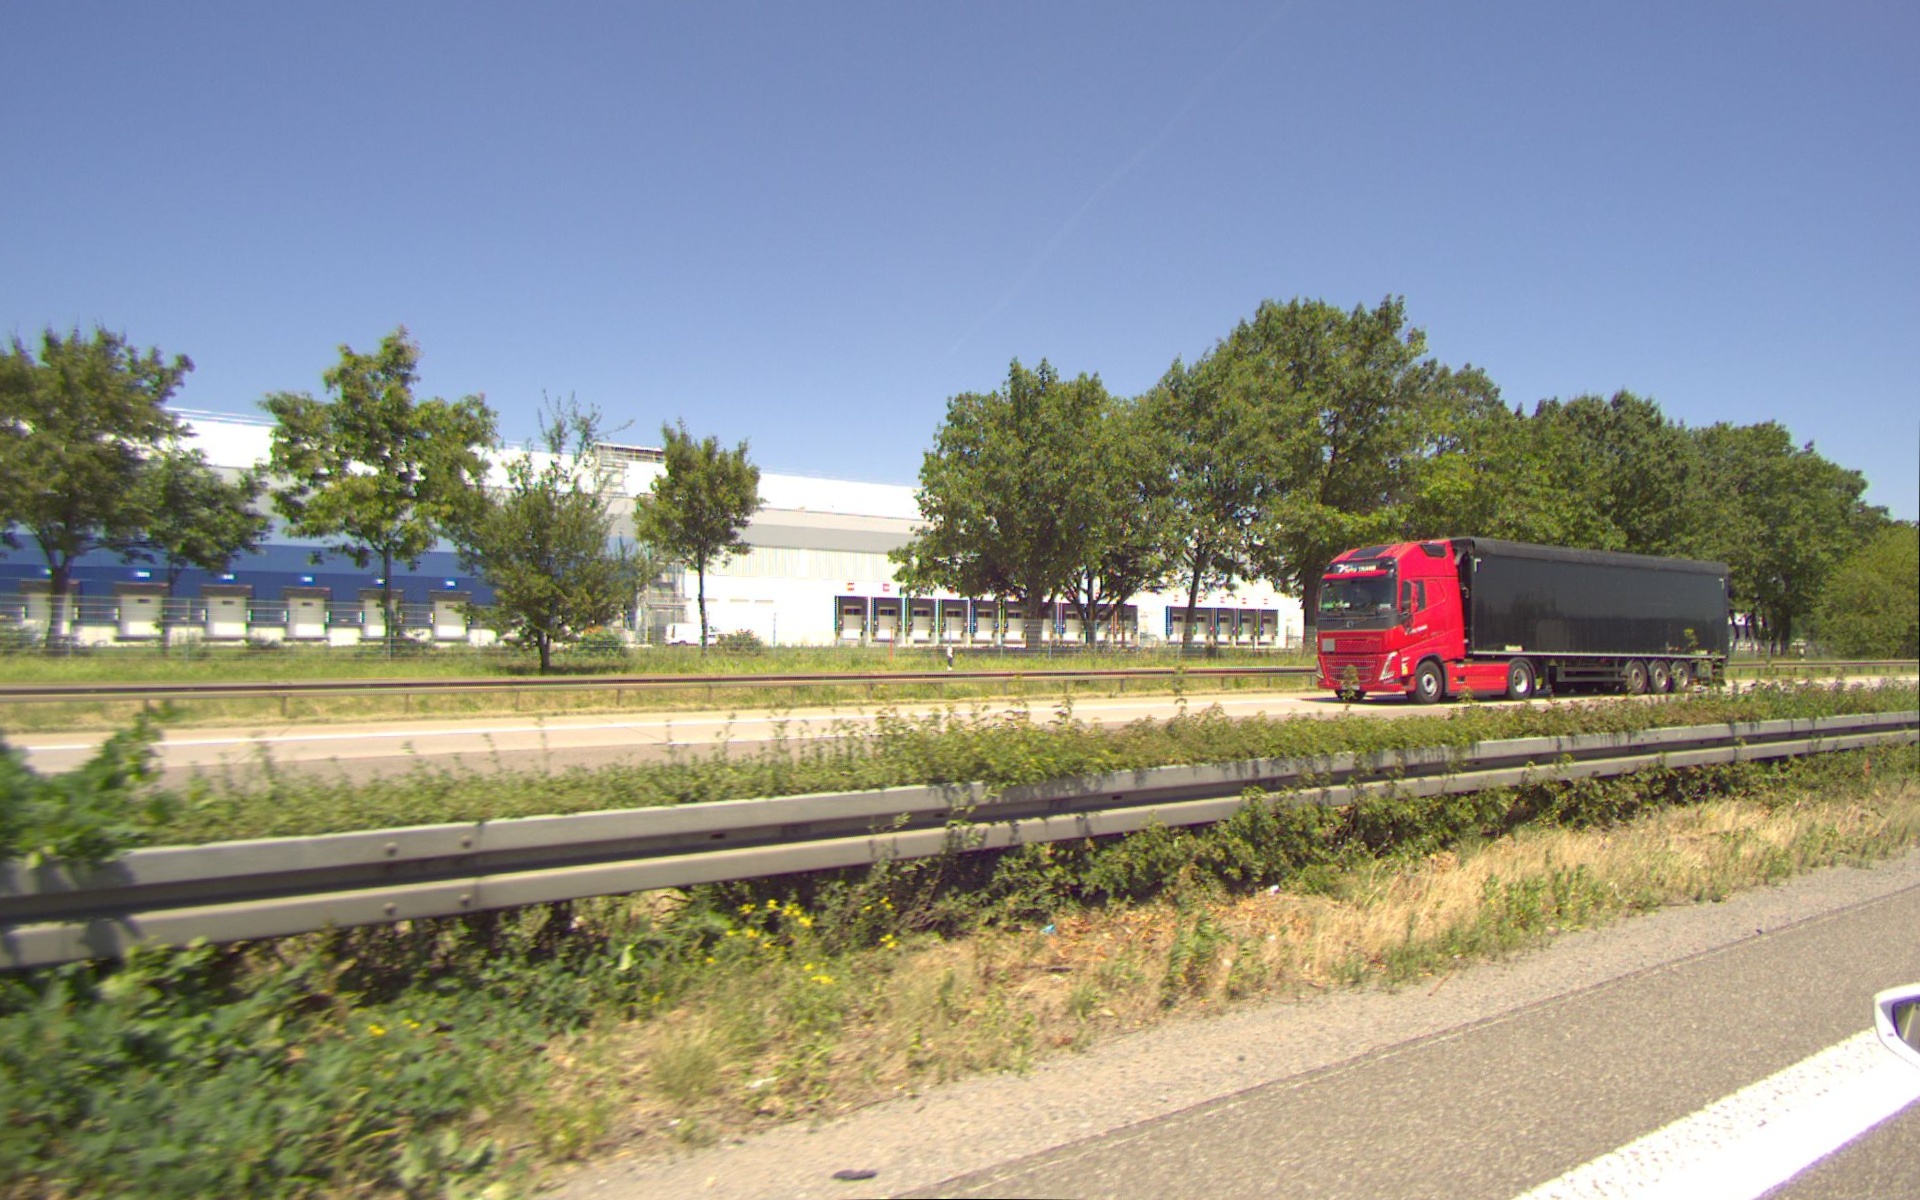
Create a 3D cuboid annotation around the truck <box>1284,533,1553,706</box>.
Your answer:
[{"bbox_3d":[11.933,0.601,26.166,6.148,3.982,3.424,1,-3,-30],"label":"truck"}]

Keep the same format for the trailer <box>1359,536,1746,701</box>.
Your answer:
[{"bbox_3d":[17.898,0.690,29.716,14.037,4.063,3.432,2,-3,-30],"label":"trailer"}]

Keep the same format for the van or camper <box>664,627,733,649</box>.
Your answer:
[{"bbox_3d":[-20.732,3.032,79.785,4.961,1.674,1.984,2,-2,-30],"label":"van or camper"}]

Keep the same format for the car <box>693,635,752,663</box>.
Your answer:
[{"bbox_3d":[-17.831,3.695,75.427,3.953,2.040,1.984,1,-2,-31],"label":"car"}]
